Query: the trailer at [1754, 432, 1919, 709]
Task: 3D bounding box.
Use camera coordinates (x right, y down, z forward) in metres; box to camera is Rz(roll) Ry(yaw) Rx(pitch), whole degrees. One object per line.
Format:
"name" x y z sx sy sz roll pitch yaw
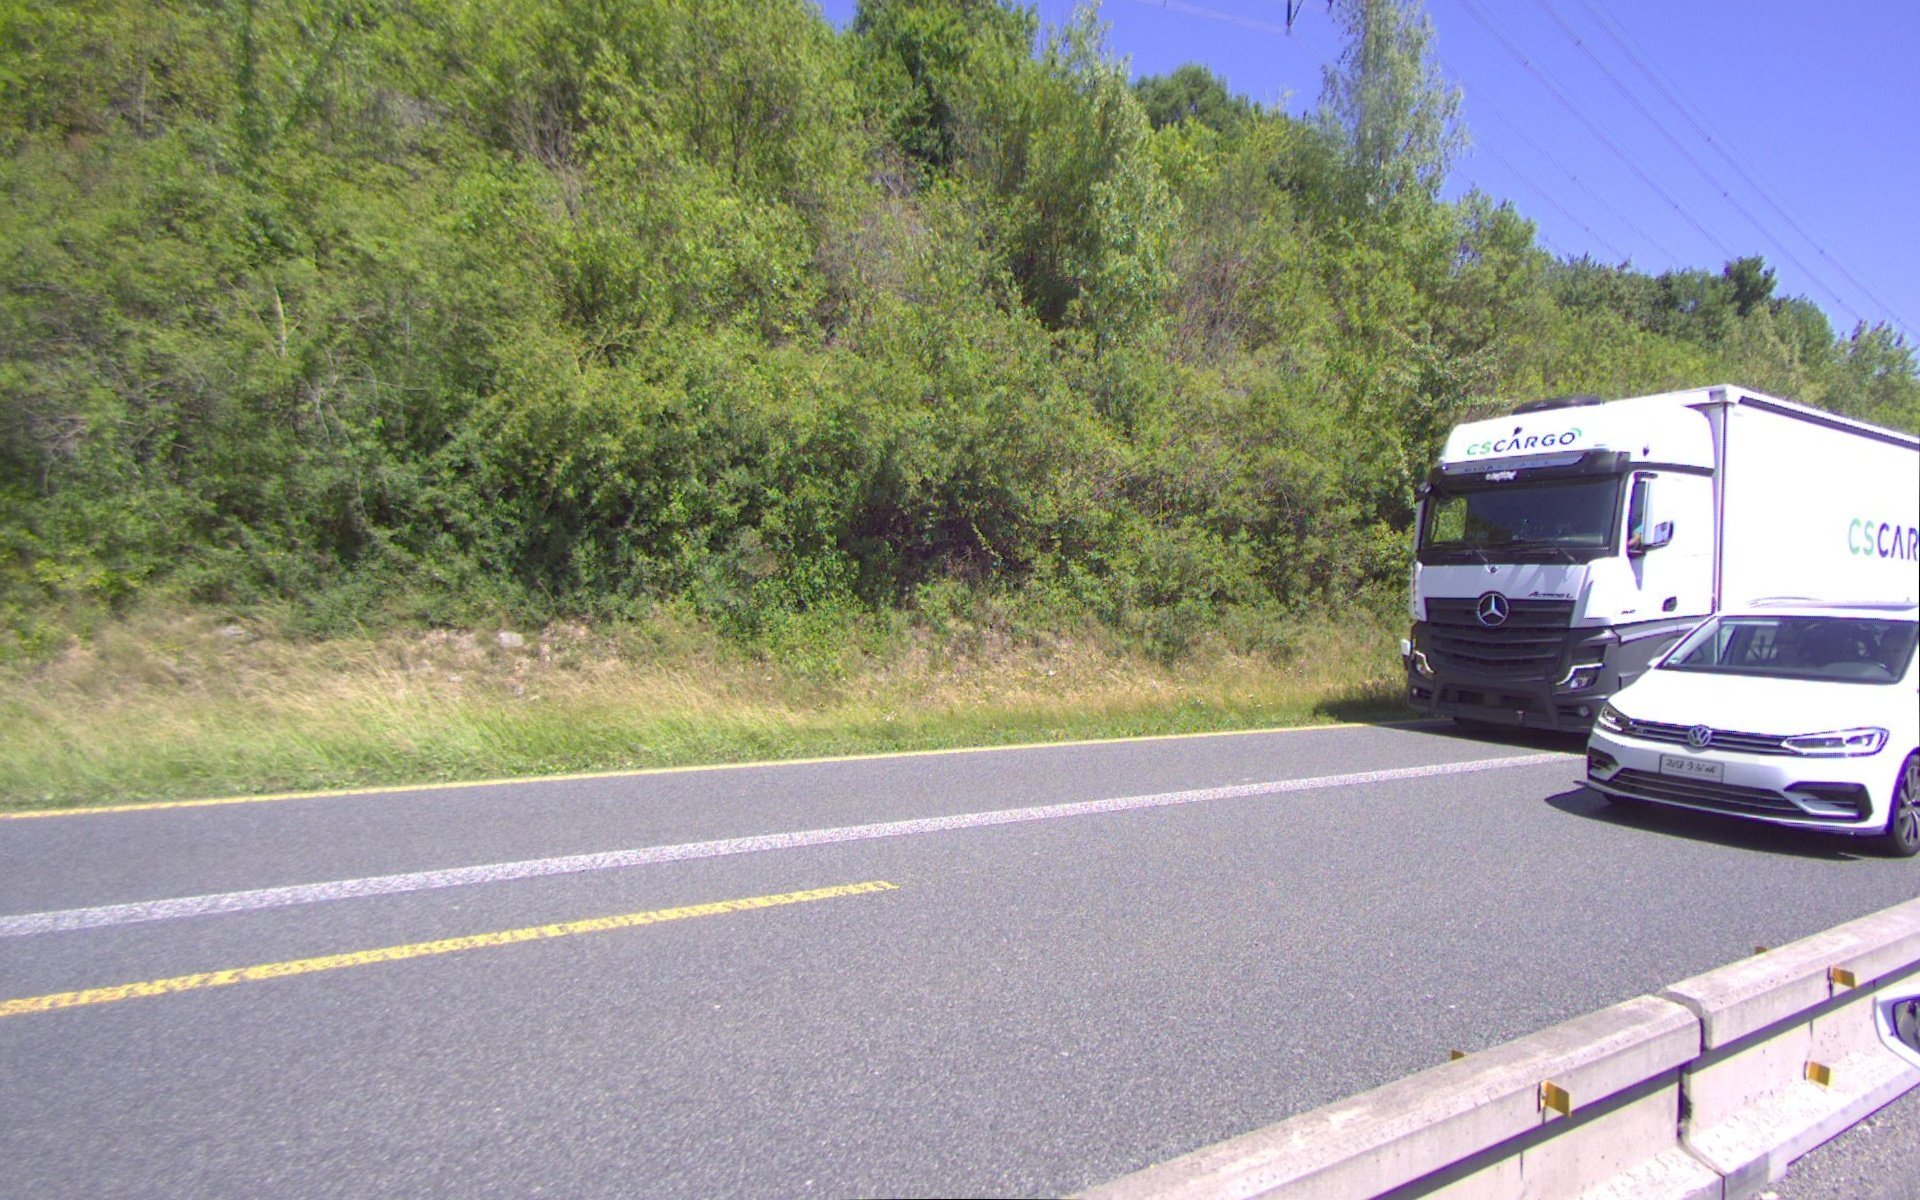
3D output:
"trailer" 18.336 -0.410 18.665 8.348 4.370 2.625 1 1 -30

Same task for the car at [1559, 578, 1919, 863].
"car" 6.634 0.734 7.667 4.104 1.652 1.815 2 0 -31

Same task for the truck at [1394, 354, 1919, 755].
"truck" 10.362 -0.393 13.778 10.230 4.046 2.398 1 1 -30
